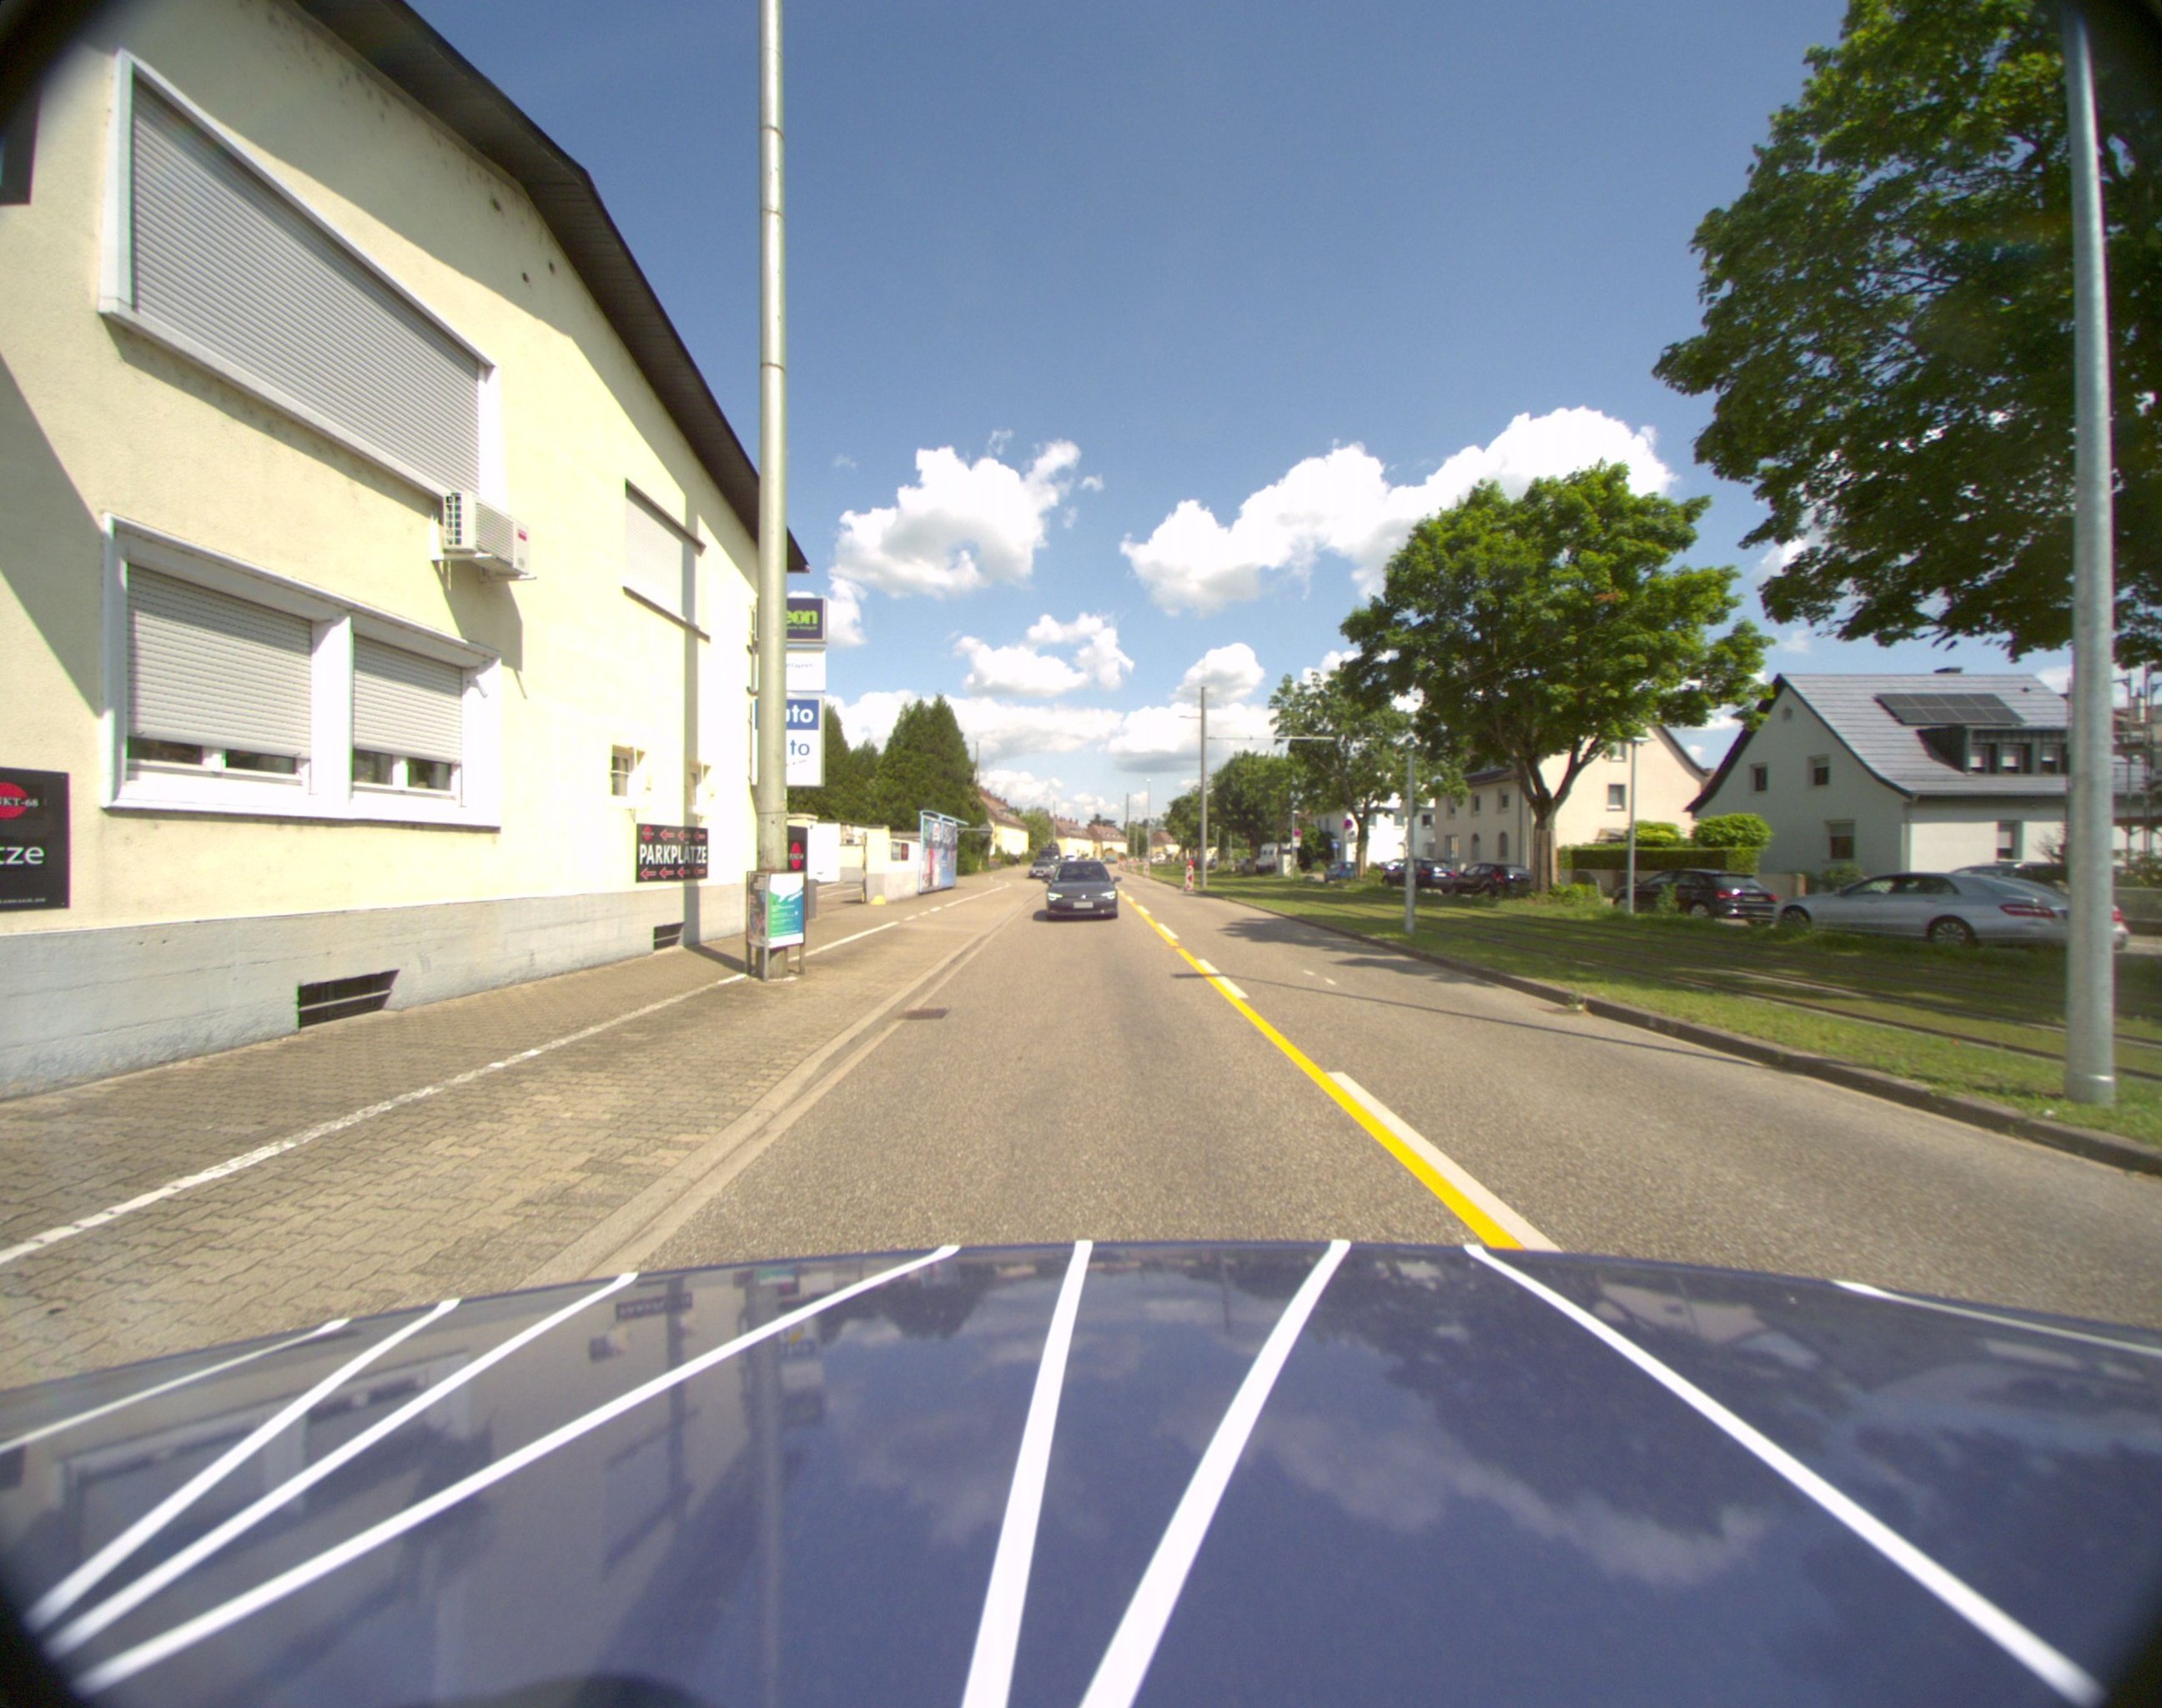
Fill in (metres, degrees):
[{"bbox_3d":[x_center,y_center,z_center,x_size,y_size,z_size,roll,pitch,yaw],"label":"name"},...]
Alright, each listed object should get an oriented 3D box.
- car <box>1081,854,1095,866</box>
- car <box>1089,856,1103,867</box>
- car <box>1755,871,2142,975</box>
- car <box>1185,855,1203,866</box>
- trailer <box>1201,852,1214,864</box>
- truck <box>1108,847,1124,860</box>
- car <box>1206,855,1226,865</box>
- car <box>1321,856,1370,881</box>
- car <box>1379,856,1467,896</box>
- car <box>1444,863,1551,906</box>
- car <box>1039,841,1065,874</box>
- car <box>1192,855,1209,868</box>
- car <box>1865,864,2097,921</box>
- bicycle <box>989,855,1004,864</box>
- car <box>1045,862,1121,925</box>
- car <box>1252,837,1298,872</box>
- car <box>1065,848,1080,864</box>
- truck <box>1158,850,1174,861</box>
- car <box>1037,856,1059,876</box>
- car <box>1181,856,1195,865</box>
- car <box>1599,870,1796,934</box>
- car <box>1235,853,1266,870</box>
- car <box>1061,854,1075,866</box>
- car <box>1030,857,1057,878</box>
[{"bbox_3d":[0.946,0.796,104.461,1.999,1.566,4.000,0,0,0],"label":"car"},{"bbox_3d":[2.473,1.163,125.882,1.998,1.791,4.002,0,0,5],"label":"car"},{"bbox_3d":[16.057,1.167,14.619,1.809,1.474,4.939,1,1,1],"label":"car"},{"bbox_3d":[16.861,0.907,113.518,1.998,1.531,4.322,1,1,1],"label":"car"},{"bbox_3d":[16.286,0.554,98.005,1.302,1.510,2.282,1,1,0],"label":"trailer"},{"bbox_3d":[8.657,-0.154,186.392,2.530,2.931,7.868,1,1,12],"label":"truck"},{"bbox_3d":[16.438,0.736,92.584,1.785,1.087,3.836,1,1,0],"label":"car"},{"bbox_3d":[16.100,0.859,46.434,1.758,1.427,3.889,1,1,2],"label":"car"},{"bbox_3d":[16.193,0.984,36.208,1.999,1.681,4.390,1,1,-3],"label":"car"},{"bbox_3d":[16.423,1.161,30.221,1.998,1.430,3.999,2,1,0],"label":"car"},{"bbox_3d":[-2.544,0.310,67.130,2.001,2.744,4.878,1,0,1],"label":"car"},{"bbox_3d":[16.989,1.085,108.167,1.910,1.568,4.101,4,-1,1],"label":"car"},{"bbox_3d":[24.611,1.023,20.912,3.997,1.393,1.982,-1,1,0],"label":"car"},{"bbox_3d":[-9.793,0.659,88.178,1.693,1.096,0.290,0,1,0],"label":"bicycle"},{"bbox_3d":[0.012,0.959,20.200,1.786,1.412,4.289,-1,0,-1],"label":"car"},{"bbox_3d":[16.204,0.057,63.871,1.999,2.714,6.461,1,0,-2],"label":"car"},{"bbox_3d":[-1.303,0.334,121.584,1.923,2.522,5.346,1,0,5],"label":"car"},{"bbox_3d":[25.841,0.456,230.115,2.698,3.346,8.063,1,0,22],"label":"truck"},{"bbox_3d":[-2.640,0.940,61.194,1.696,1.507,4.354,1,1,-2],"label":"car"},{"bbox_3d":[18.554,1.082,132.042,1.998,1.531,4.323,1,1,3],"label":"car"},{"bbox_3d":[16.010,1.177,20.037,1.998,1.310,3.852,3,1,0],"label":"car"},{"bbox_3d":[16.314,0.718,73.143,1.998,1.497,4.486,1,1,1],"label":"car"},{"bbox_3d":[-1.843,0.842,108.375,1.756,1.480,4.627,2,0,1],"label":"car"},{"bbox_3d":[-2.769,0.957,56.395,1.655,1.423,4.096,1,1,1],"label":"car"}]
